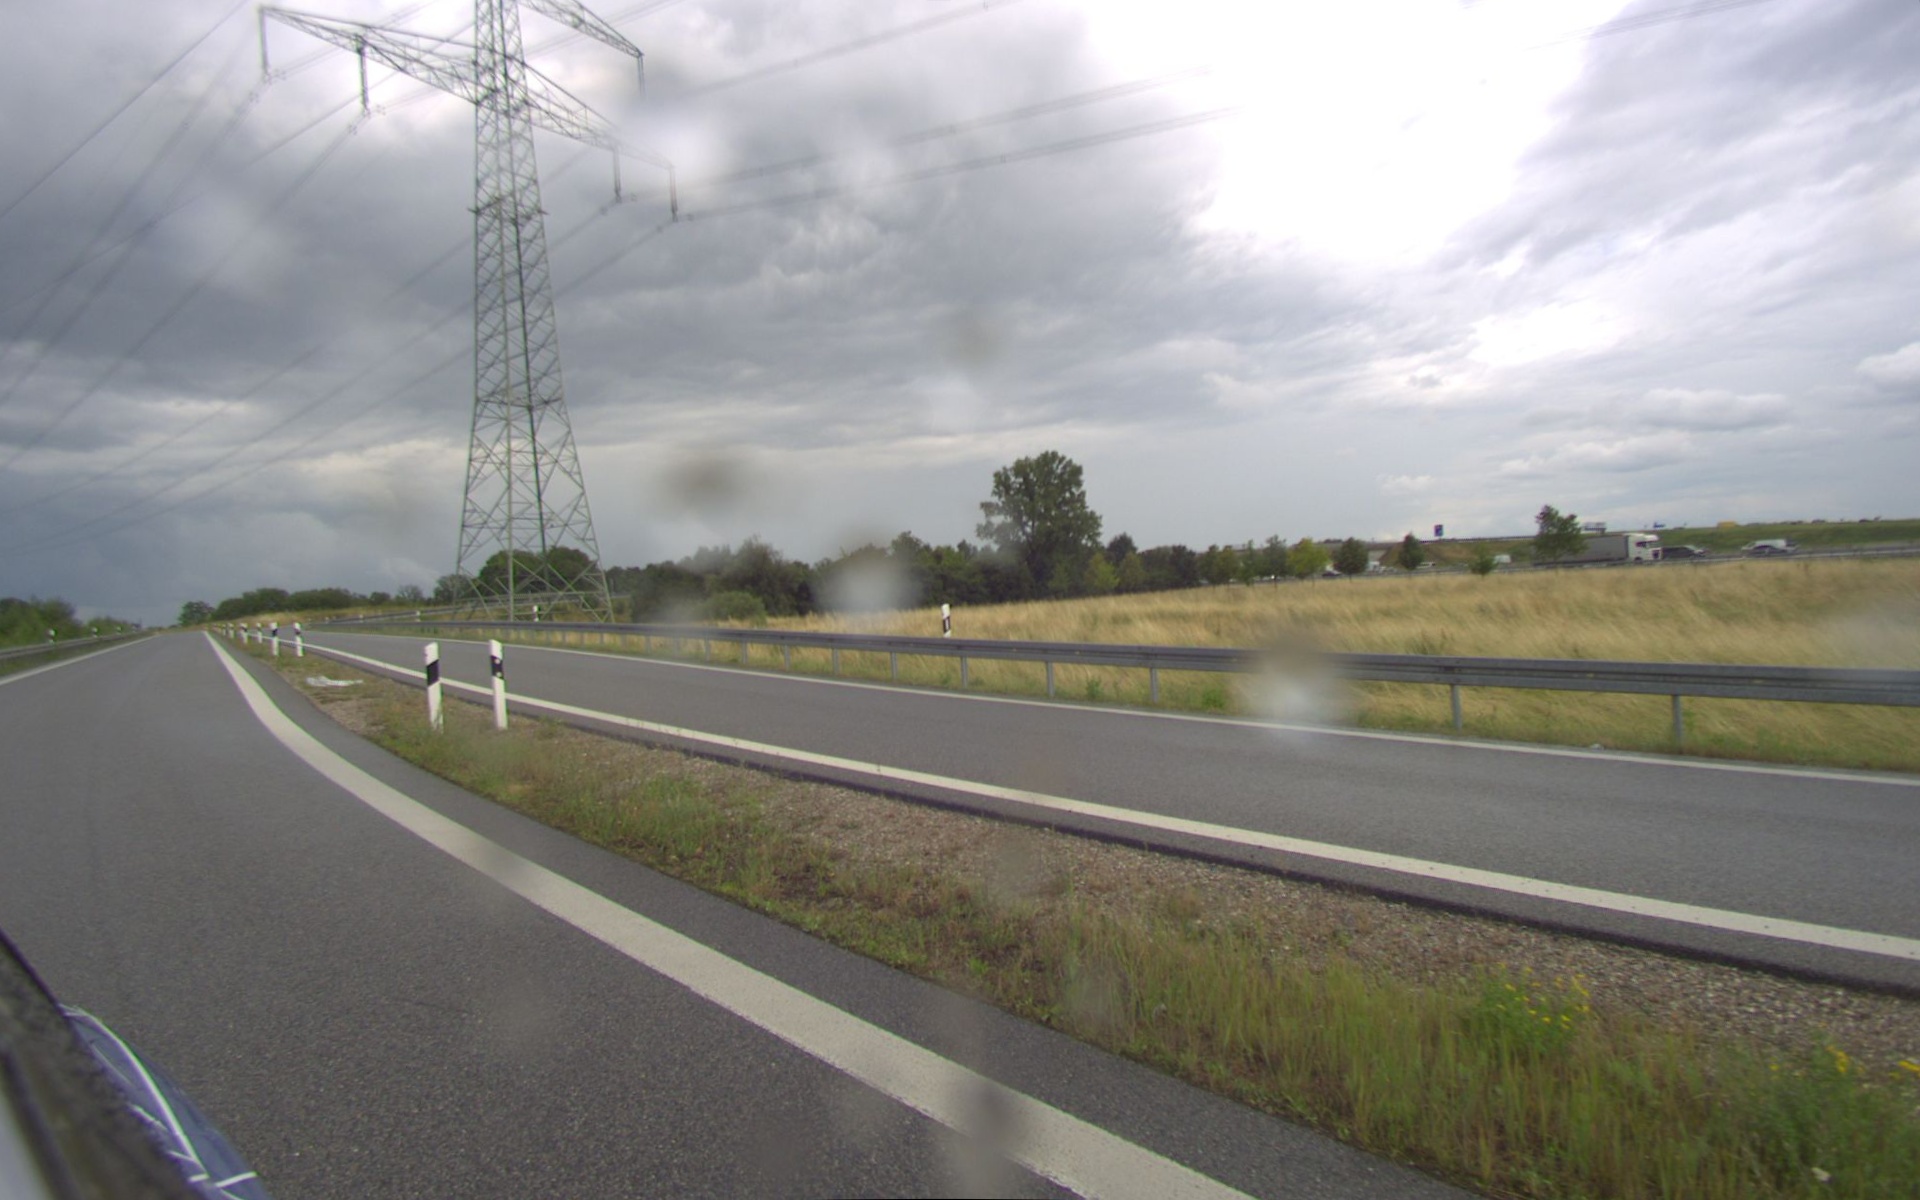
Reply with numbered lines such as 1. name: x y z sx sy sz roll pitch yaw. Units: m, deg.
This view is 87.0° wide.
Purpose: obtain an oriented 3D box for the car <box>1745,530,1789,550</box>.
1. car: 107.235 -7.958 134.464 1.966 2.029 4.012 -4 -1 -19

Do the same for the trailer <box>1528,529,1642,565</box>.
1. trailer: 83.180 -7.016 135.268 2.810 3.810 13.704 -4 1 -23

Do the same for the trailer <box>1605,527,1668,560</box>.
1. trailer: 85.924 -7.120 128.606 2.800 3.811 5.917 -4 1 -23
